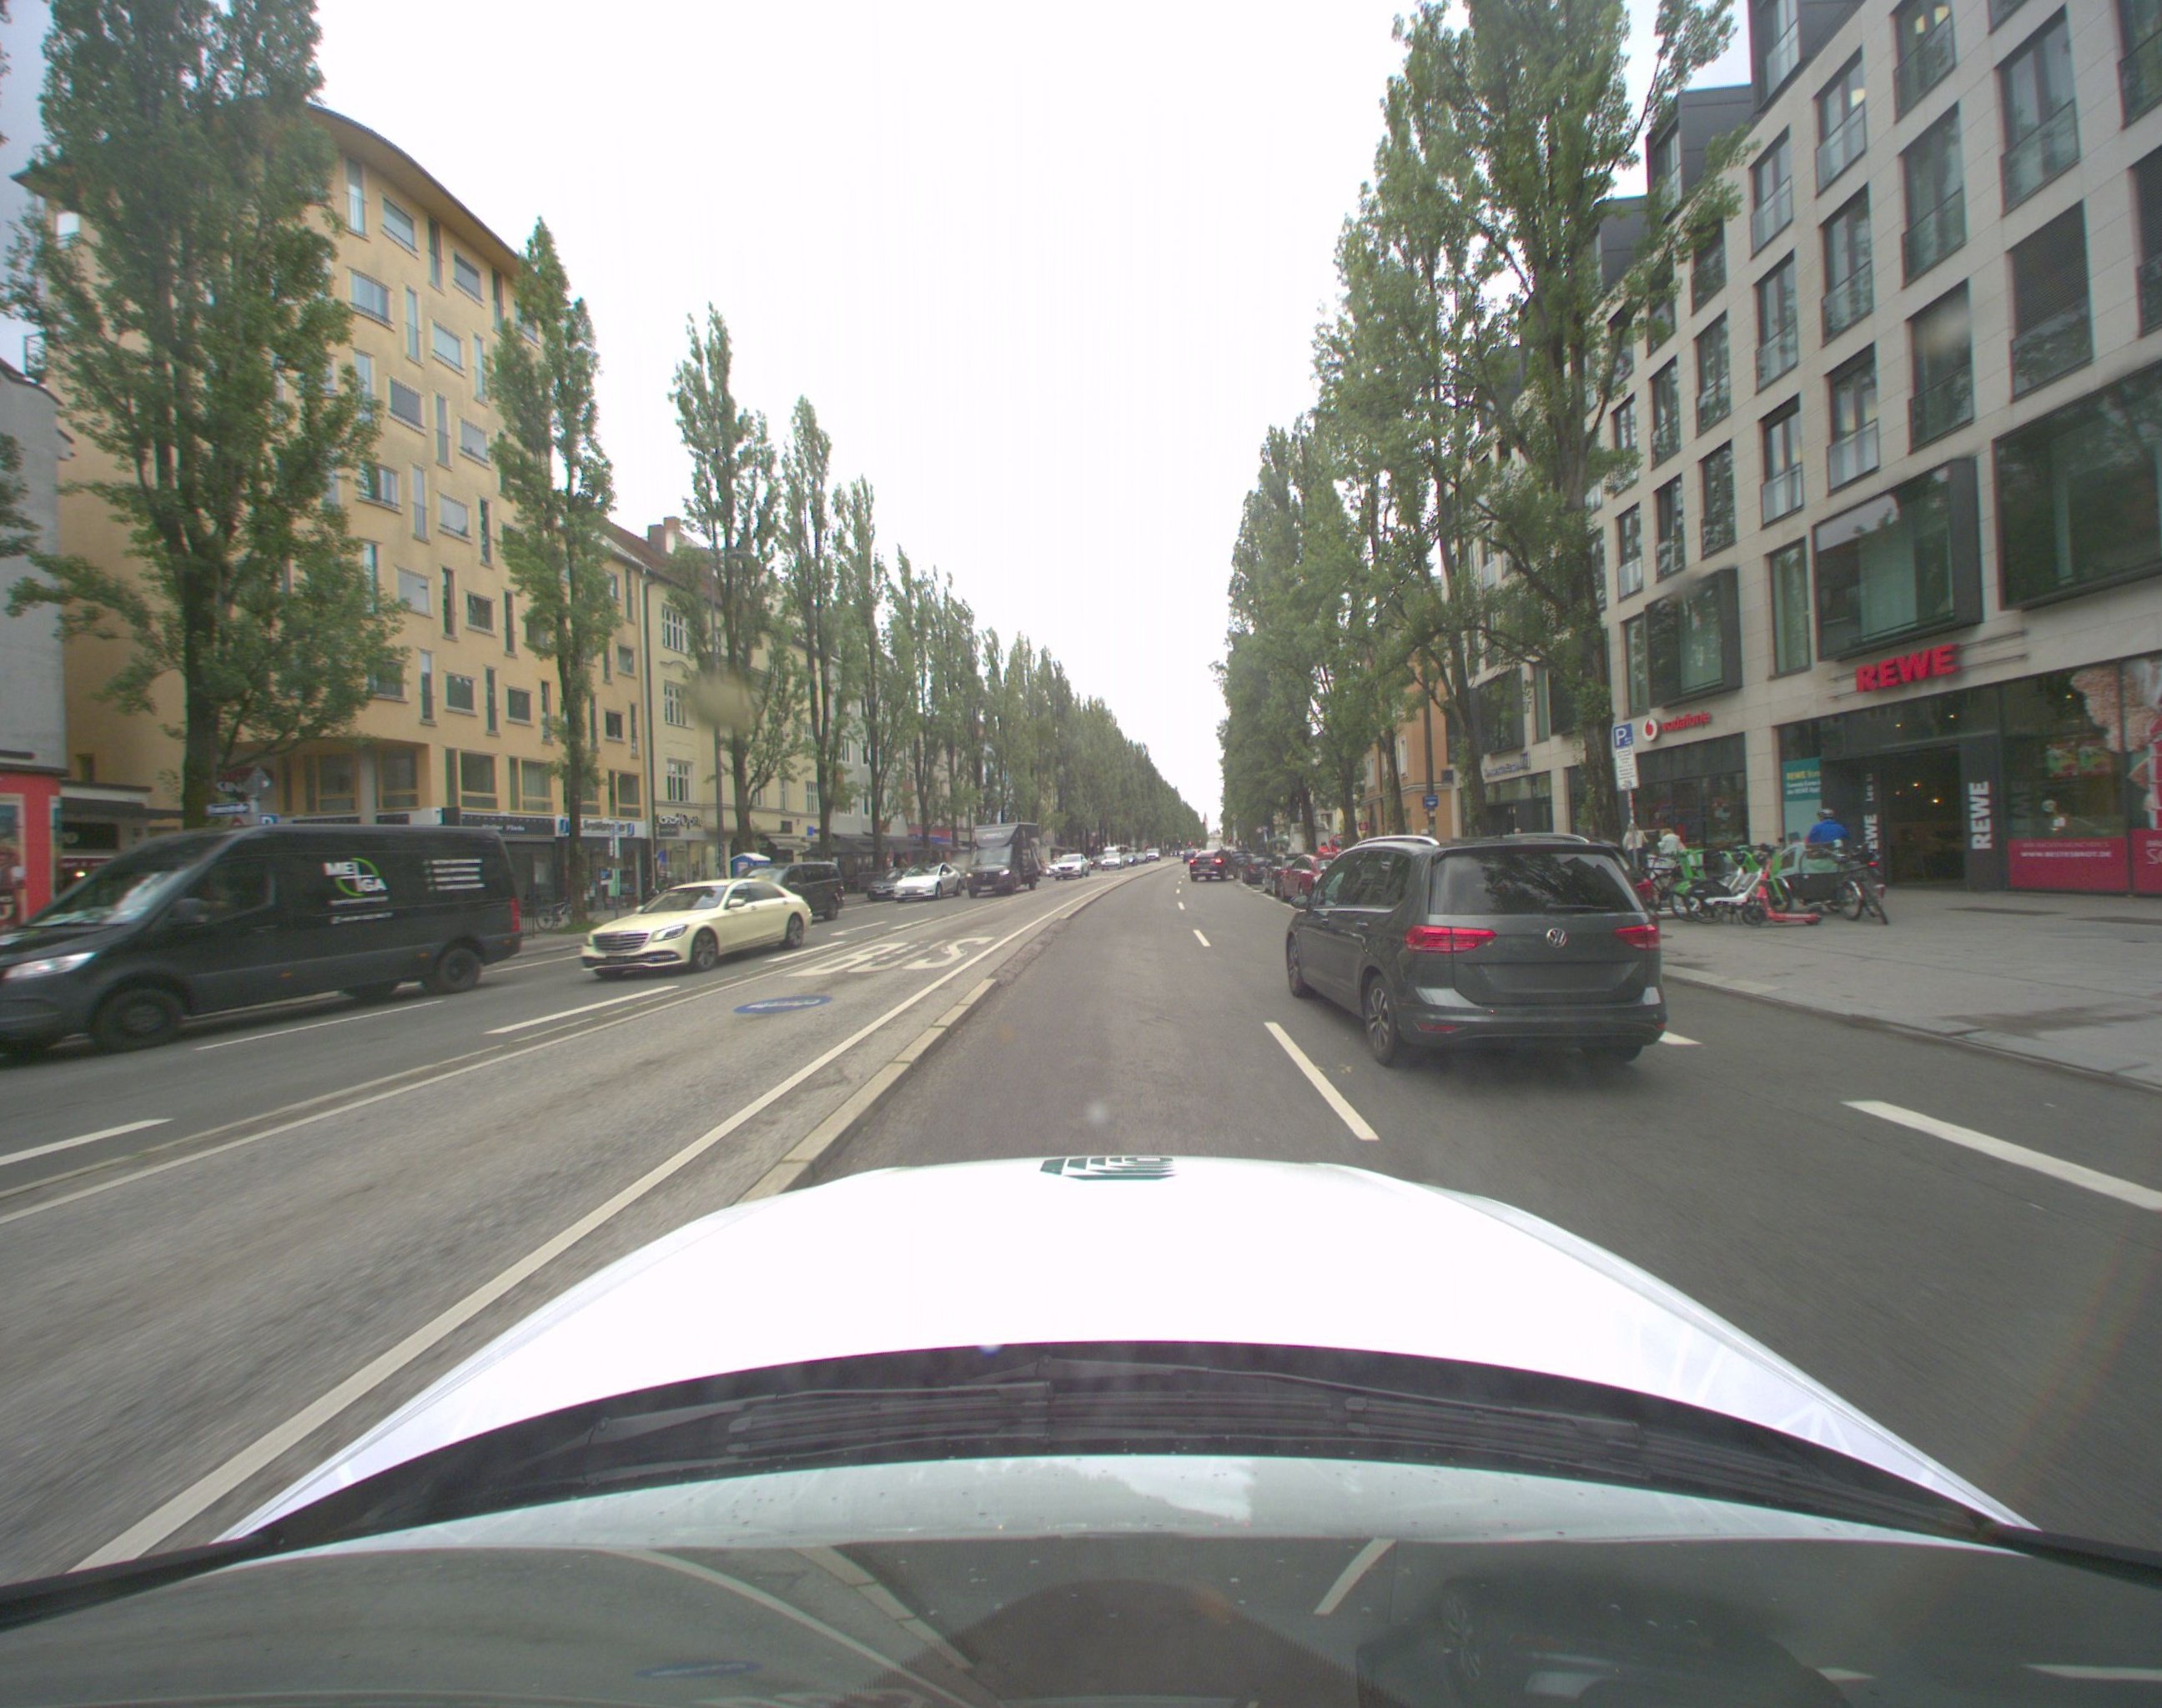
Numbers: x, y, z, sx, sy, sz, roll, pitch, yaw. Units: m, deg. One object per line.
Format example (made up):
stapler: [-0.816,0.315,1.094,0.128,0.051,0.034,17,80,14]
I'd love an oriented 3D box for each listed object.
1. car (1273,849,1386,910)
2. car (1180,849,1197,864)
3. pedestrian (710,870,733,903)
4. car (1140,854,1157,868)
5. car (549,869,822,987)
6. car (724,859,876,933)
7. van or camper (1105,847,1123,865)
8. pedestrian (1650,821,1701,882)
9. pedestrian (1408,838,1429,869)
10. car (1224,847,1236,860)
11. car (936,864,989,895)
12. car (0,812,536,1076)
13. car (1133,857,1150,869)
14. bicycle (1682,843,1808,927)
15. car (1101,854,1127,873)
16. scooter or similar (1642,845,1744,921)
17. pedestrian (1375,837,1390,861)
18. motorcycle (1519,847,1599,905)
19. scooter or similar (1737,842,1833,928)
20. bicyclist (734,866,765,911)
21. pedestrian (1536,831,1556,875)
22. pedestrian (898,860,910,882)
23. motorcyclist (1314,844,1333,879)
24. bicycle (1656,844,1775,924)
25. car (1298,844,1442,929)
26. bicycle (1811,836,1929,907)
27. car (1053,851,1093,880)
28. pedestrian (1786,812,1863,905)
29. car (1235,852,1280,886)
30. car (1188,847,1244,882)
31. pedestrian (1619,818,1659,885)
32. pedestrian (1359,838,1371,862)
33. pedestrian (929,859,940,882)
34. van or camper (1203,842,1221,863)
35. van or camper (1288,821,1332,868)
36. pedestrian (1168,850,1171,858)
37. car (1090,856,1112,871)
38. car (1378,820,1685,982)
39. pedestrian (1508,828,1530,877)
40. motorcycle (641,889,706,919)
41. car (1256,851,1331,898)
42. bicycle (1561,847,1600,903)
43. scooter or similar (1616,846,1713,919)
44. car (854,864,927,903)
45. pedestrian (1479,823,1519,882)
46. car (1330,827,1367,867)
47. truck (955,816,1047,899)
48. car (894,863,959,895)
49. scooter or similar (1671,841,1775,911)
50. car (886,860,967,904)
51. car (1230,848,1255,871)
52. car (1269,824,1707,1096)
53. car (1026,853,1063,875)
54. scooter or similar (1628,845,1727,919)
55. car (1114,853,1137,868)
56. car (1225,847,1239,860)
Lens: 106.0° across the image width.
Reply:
car: [6.789,0.638,22.791,1.922,1.450,4.809,-3,0,4]
car: [12.593,0.291,95.364,1.749,1.619,3.756,-1,-1,9]
pedestrian: [-18.006,1.624,40.780,0.630,1.561,0.818,-3,0,10]
car: [10.216,1.052,123.490,1.982,1.934,4.931,-5,-1,9]
car: [-6.986,1.195,15.234,1.983,1.589,5.205,-4,0,7]
car: [-8.648,1.207,25.809,1.982,1.863,5.725,-5,0,8]
van or camper: [4.713,0.246,116.959,1.982,2.458,4.262,-3,0,9]
pedestrian: [16.392,-0.071,22.456,0.791,1.621,0.717,-3,0,-2]
pedestrian: [17.689,-0.034,42.717,0.606,1.551,0.710,-4,0,-19]
car: [23.171,-0.067,126.815,1.794,1.992,4.010,-1,-1,9]
car: [-7.046,1.476,48.713,1.851,1.629,4.179,-3,0,9]
car: [-11.080,0.925,11.213,2.156,2.605,6.083,-3,0,11]
car: [7.636,1.086,102.850,1.702,1.414,3.732,-3,0,9]
bicycle: [10.362,0.476,12.741,1.473,1.207,0.536,-3,0,0]
car: [3.199,0.887,78.856,1.928,1.642,4.474,-3,0,9]
scooter or similar: [10.333,0.481,13.753,1.430,1.201,0.311,-3,0,0]
pedestrian: [20.843,-0.366,56.339,0.815,1.613,0.781,-3,0,12]
motorcycle: [11.904,0.549,20.350,0.687,1.356,1.633,-3,0,-18]
scooter or similar: [10.571,0.458,12.248,1.046,1.226,0.380,-3,0,1]
bicyclist: [-12.323,1.265,30.298,0.493,1.581,1.110,-3,0,8]
pedestrian: [15.885,-0.043,27.811,0.497,1.491,0.551,-3,0,34]
pedestrian: [-13.544,1.302,62.251,0.634,1.700,0.649,-3,0,9]
motorcyclist: [10.250,0.315,34.382,0.561,1.406,0.767,-4,0,6]
bicycle: [10.346,0.484,13.300,1.473,1.207,0.536,-3,0,0]
car: [6.115,0.614,17.861,1.801,1.500,4.813,-3,0,5]
bicycle: [14.086,0.291,14.611,0.448,1.172,1.770,-3,0,4]
car: [-0.504,0.755,55.208,1.849,1.711,4.547,-4,0,9]
pedestrian: [13.539,0.085,14.850,0.608,1.619,0.795,-4,0,3]
car: [8.406,0.676,39.087,1.724,1.394,4.442,-3,0,8]
car: [7.294,0.541,43.675,1.864,1.642,4.608,-3,0,23]
pedestrian: [15.307,-0.059,22.357,0.786,1.772,0.686,-3,0,29]
pedestrian: [19.766,-0.284,56.679,0.668,1.613,0.642,-3,0,12]
pedestrian: [-12.211,1.350,67.965,0.634,1.862,0.649,-3,0,9]
van or camper: [16.700,-0.164,103.797,2.022,2.475,4.010,-3,-2,9]
van or camper: [16.257,-0.658,58.082,2.445,3.112,4.729,-3,0,10]
pedestrian: [20.498,0.035,189.099,0.549,1.716,0.494,-3,0,10]
car: [2.212,1.022,89.172,1.837,1.564,4.223,-3,-1,9]
car: [5.678,0.538,11.076,1.915,1.700,4.656,-1,-1,5]
pedestrian: [14.967,-0.052,27.813,0.544,1.638,0.562,-3,0,34]
motorcycle: [-15.011,1.845,30.024,2.057,1.036,0.484,-1,-1,-12]
car: [7.239,0.642,28.195,1.837,1.428,4.433,-2,0,6]
bicycle: [11.437,0.466,18.627,0.540,1.189,1.464,-3,0,38]
scooter or similar: [10.318,0.499,14.415,1.430,1.201,0.311,-3,0,0]
car: [-9.043,1.375,39.032,1.851,1.629,4.179,-3,0,9]
pedestrian: [13.810,-0.041,26.935,0.813,1.869,0.940,-4,0,5]
car: [17.144,-0.474,52.061,1.885,2.328,4.850,-3,0,21]
truck: [-3.489,0.145,37.438,2.278,3.322,7.175,-4,0,9]
car: [-8.211,1.313,43.711,1.927,1.493,4.308,-3,0,10]
scooter or similar: [11.886,0.402,15.100,1.377,1.211,0.555,-3,0,6]
car: [-6.832,1.207,36.588,1.982,1.651,4.648,-4,0,9]
car: [12.171,0.376,61.553,1.614,1.565,4.382,-3,0,9]
car: [2.977,0.656,7.086,1.755,1.613,4.184,-2,0,1]
car: [-2.804,0.768,63.306,1.928,1.493,4.467,-3,0,9]
scooter or similar: [10.316,0.478,14.085,1.430,1.201,0.311,-3,0,0]
car: [5.035,0.680,91.176,1.982,1.432,4.784,-4,0,9]
car: [20.322,-0.100,109.790,1.794,1.596,4.010,-3,0,9]
